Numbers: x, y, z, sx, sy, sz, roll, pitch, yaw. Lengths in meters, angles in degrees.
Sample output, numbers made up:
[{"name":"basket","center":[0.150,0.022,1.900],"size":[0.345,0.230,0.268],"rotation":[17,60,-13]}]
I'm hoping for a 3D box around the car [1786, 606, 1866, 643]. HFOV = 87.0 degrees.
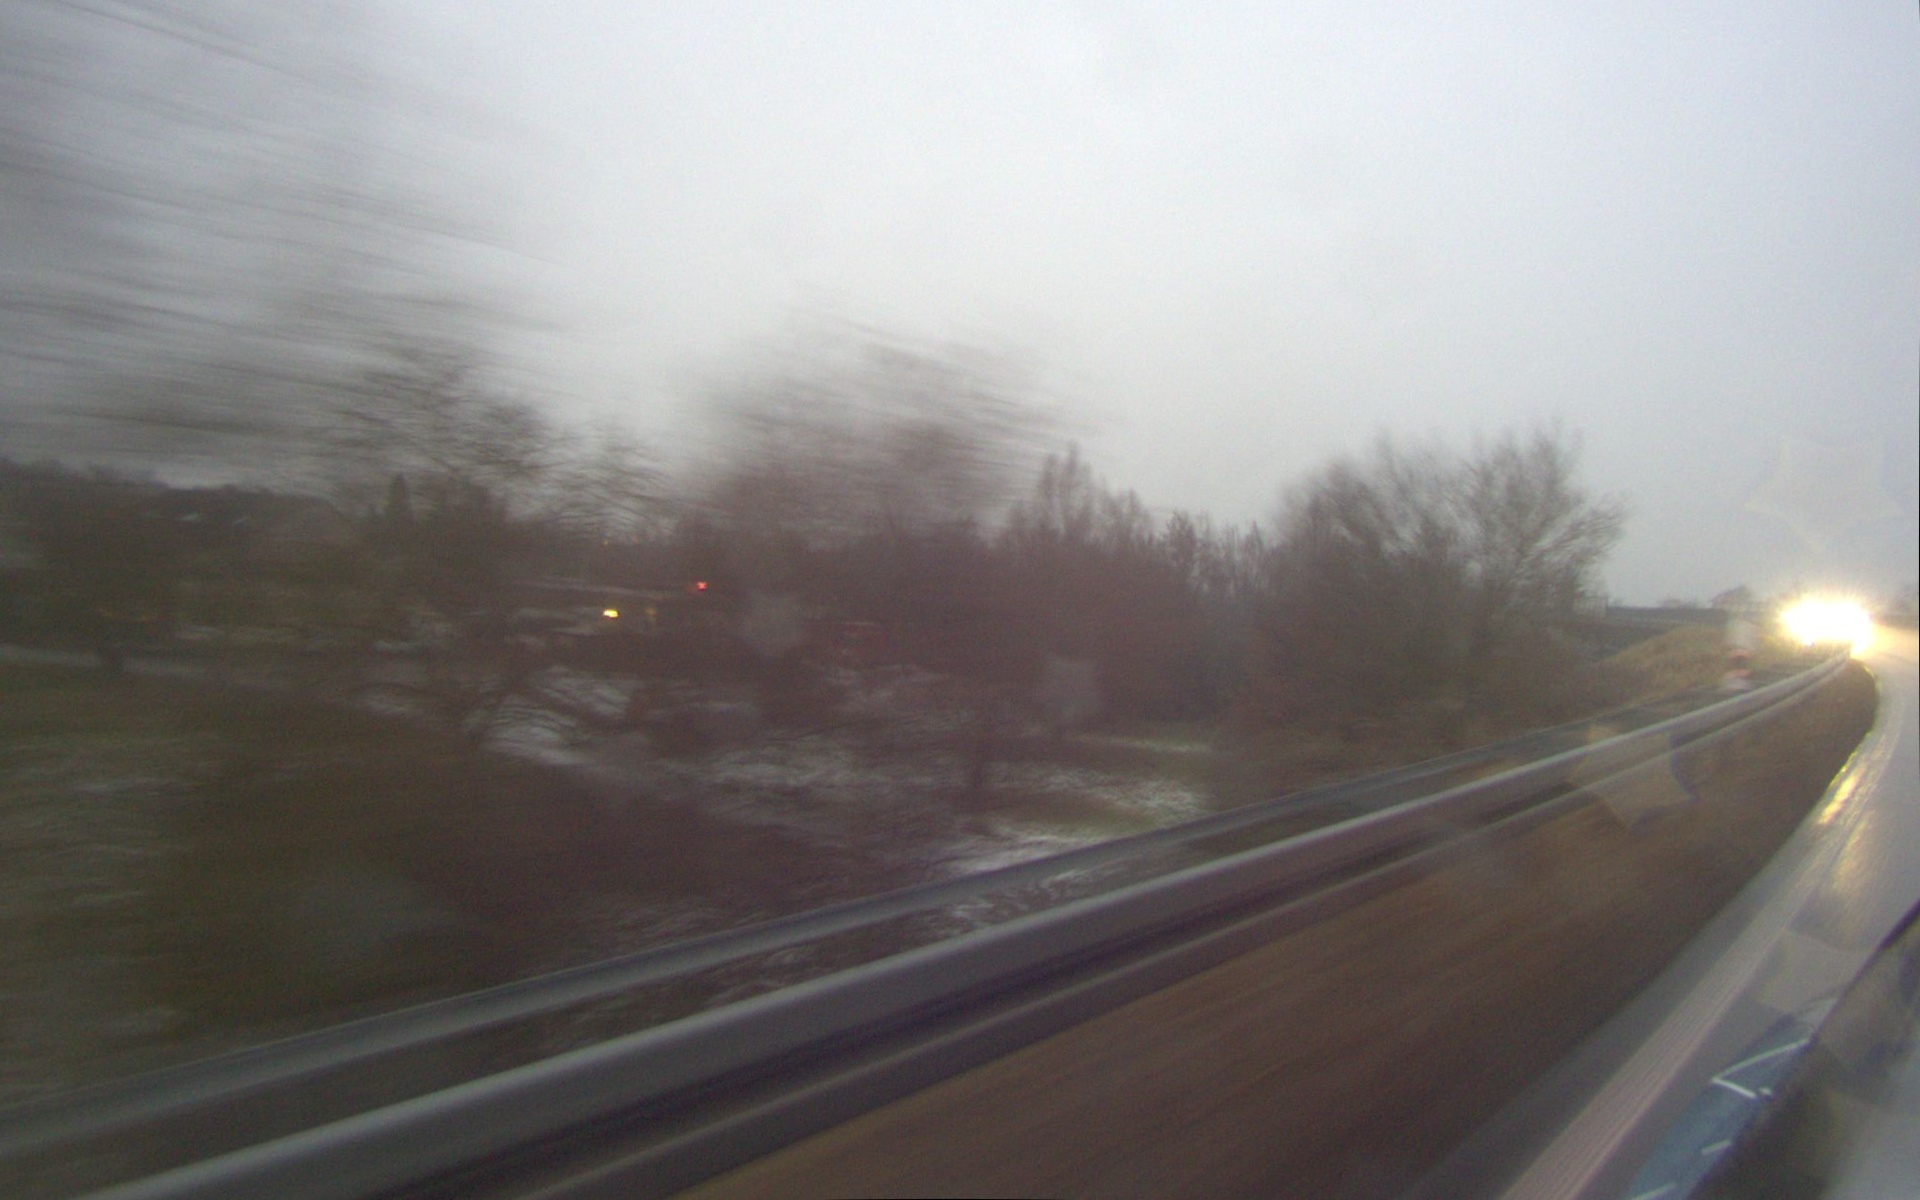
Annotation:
[{"name":"car","center":[43.245,1.202,50.637],"size":[2.087,1.594,4.748],"rotation":[4,1,30]}]
